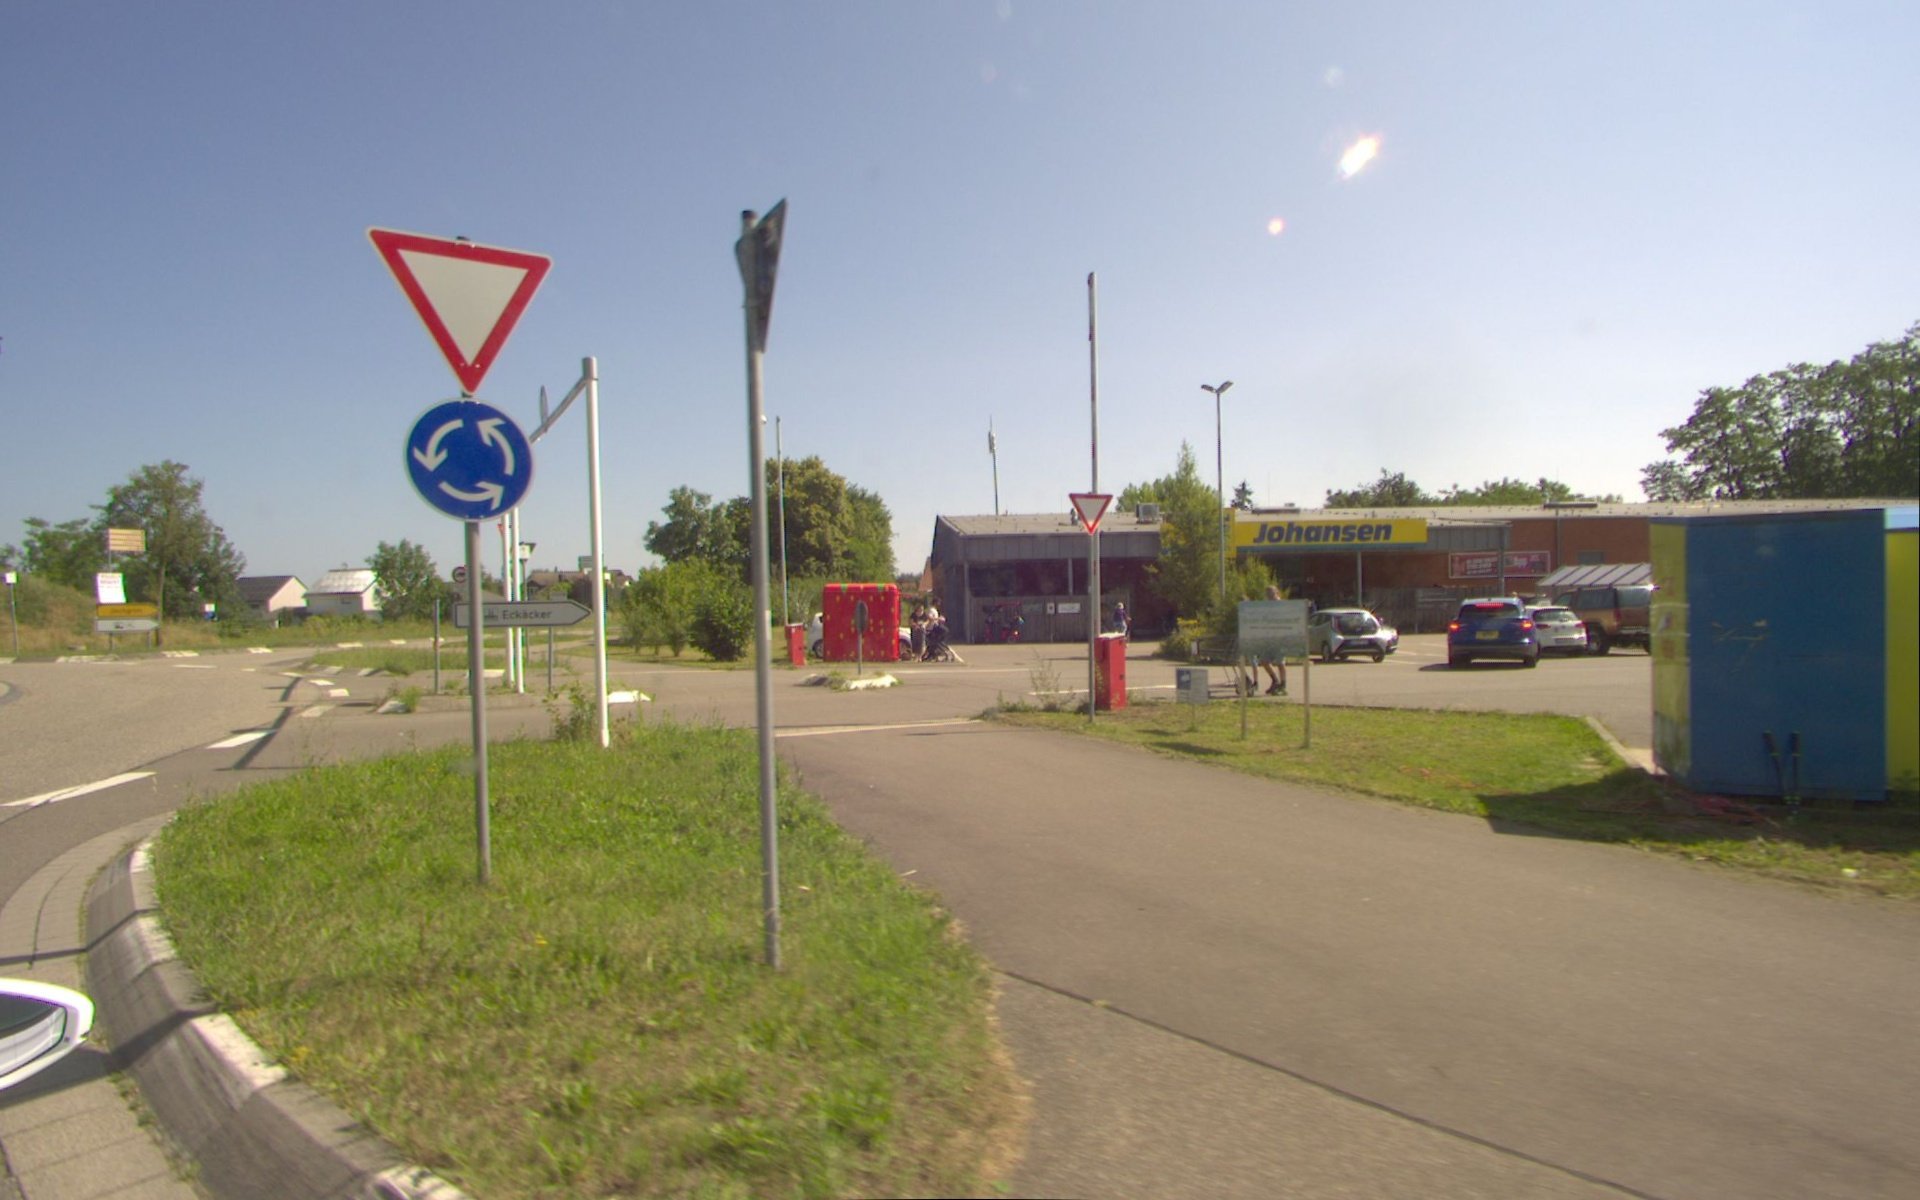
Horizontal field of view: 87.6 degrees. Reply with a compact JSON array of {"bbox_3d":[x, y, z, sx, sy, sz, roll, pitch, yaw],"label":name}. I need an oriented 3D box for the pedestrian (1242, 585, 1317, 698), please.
[{"bbox_3d":[5.265,0.669,16.531,0.828,1.809,0.878,-1,1,-18],"label":"pedestrian"}]

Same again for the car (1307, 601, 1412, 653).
[{"bbox_3d":[13.281,0.864,33.551,1.875,1.644,4.000,0,0,-1],"label":"car"}]

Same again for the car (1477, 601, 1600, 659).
[{"bbox_3d":[16.311,0.814,28.439,1.683,1.517,3.492,0,0,5],"label":"car"}]

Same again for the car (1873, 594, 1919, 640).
[{"bbox_3d":[30.512,0.515,30.466,1.682,1.416,4.000,0,0,-3],"label":"car"}]

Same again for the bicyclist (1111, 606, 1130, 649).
[{"bbox_3d":[5.906,1.009,36.886,0.596,1.535,0.676,0,1,17],"label":"bicyclist"}]

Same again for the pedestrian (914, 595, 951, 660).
[{"bbox_3d":[-0.811,0.812,29.849,0.827,1.896,0.771,0,1,26],"label":"pedestrian"}]

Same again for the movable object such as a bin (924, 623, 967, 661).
[{"bbox_3d":[-0.396,1.177,28.360,1.022,1.060,0.767,0,0,18],"label":"movable object such as a bin"}]

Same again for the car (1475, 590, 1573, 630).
[{"bbox_3d":[25.775,0.445,45.910,1.962,1.706,3.998,-1,0,-7],"label":"car"}]

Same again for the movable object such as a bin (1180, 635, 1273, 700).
[{"bbox_3d":[4.297,1.068,16.181,1.183,0.967,0.878,0,0,-19],"label":"movable object such as a bin"}]

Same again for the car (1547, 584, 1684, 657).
[{"bbox_3d":[18.756,0.576,28.850,1.842,1.954,3.492,0,0,5],"label":"car"}]

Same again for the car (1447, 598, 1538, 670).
[{"bbox_3d":[12.773,0.762,24.216,1.688,1.592,4.413,0,0,25],"label":"car"}]

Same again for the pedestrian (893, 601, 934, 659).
[{"bbox_3d":[-1.336,0.857,28.692,0.910,1.640,0.812,0,1,22],"label":"pedestrian"}]

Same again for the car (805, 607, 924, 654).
[{"bbox_3d":[-3.049,0.973,32.643,3.698,1.465,1.726,0,0,0],"label":"car"}]

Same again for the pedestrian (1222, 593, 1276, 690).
[{"bbox_3d":[5.076,0.712,17.614,0.587,1.670,0.700,-1,1,-28],"label":"pedestrian"}]

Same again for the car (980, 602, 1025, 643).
[{"bbox_3d":[1.754,0.915,41.456,1.793,1.657,1.131,0,0,-2],"label":"car"}]

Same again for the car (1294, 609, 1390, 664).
[{"bbox_3d":[10.931,0.996,28.872,1.683,1.477,3.492,0,0,5],"label":"car"}]

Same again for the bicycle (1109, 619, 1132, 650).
[{"bbox_3d":[5.943,1.253,37.032,0.543,1.055,2.073,0,0,17],"label":"bicycle"}]
